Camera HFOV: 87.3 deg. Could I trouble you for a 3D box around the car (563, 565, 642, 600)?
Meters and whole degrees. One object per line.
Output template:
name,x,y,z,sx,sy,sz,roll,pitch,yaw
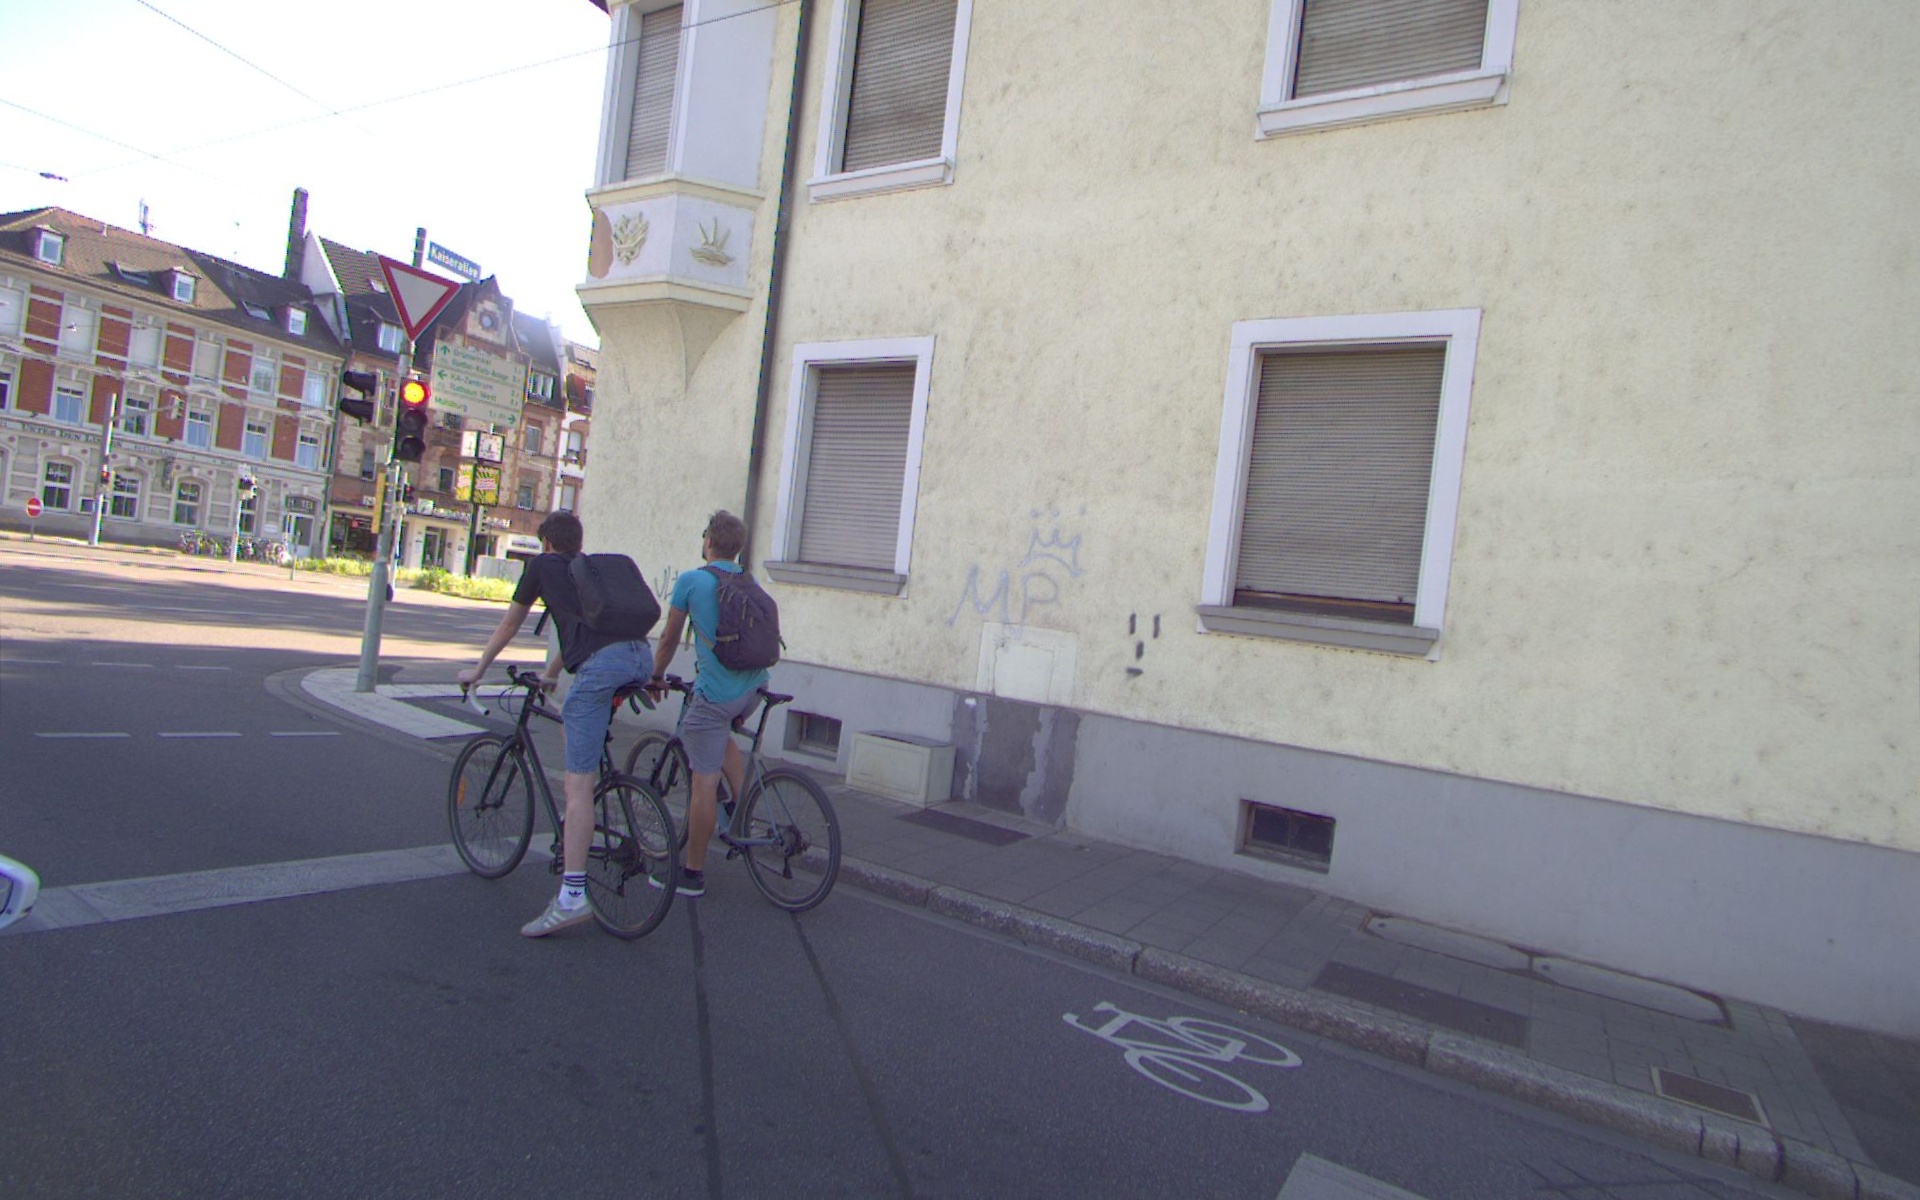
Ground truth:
car,-23.170,-1.117,65.325,2.116,1.660,4.340,7,-1,31

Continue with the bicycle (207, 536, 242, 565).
bicycle,-34.210,-2.304,46.763,2.140,1.157,0.618,7,0,37

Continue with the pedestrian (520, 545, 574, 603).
pedestrian,-16.565,-1.034,40.383,1.285,2.068,1.321,7,0,31

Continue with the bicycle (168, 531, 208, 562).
bicycle,-35.059,-2.442,45.684,2.140,1.157,0.806,7,0,37

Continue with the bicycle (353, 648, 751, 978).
bicycle,-1.916,0.857,4.598,1.897,1.023,0.645,7,0,34

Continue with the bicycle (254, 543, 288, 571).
bicycle,-33.112,-2.063,48.319,2.102,1.150,0.609,7,0,37

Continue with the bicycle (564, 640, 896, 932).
bicycle,-1.255,0.888,5.287,1.784,1.130,0.519,7,0,34

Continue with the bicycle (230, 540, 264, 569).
bicycle,-33.677,-2.157,47.515,2.140,1.157,0.618,7,0,37

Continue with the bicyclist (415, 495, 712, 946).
bicyclist,-1.804,0.475,4.552,1.083,1.775,0.562,7,0,34

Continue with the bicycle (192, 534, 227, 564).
bicycle,-34.545,-2.352,46.286,2.140,1.157,0.618,7,0,37

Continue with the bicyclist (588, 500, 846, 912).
bicyclist,-1.271,0.501,5.252,0.961,1.917,0.602,6,-1,34
